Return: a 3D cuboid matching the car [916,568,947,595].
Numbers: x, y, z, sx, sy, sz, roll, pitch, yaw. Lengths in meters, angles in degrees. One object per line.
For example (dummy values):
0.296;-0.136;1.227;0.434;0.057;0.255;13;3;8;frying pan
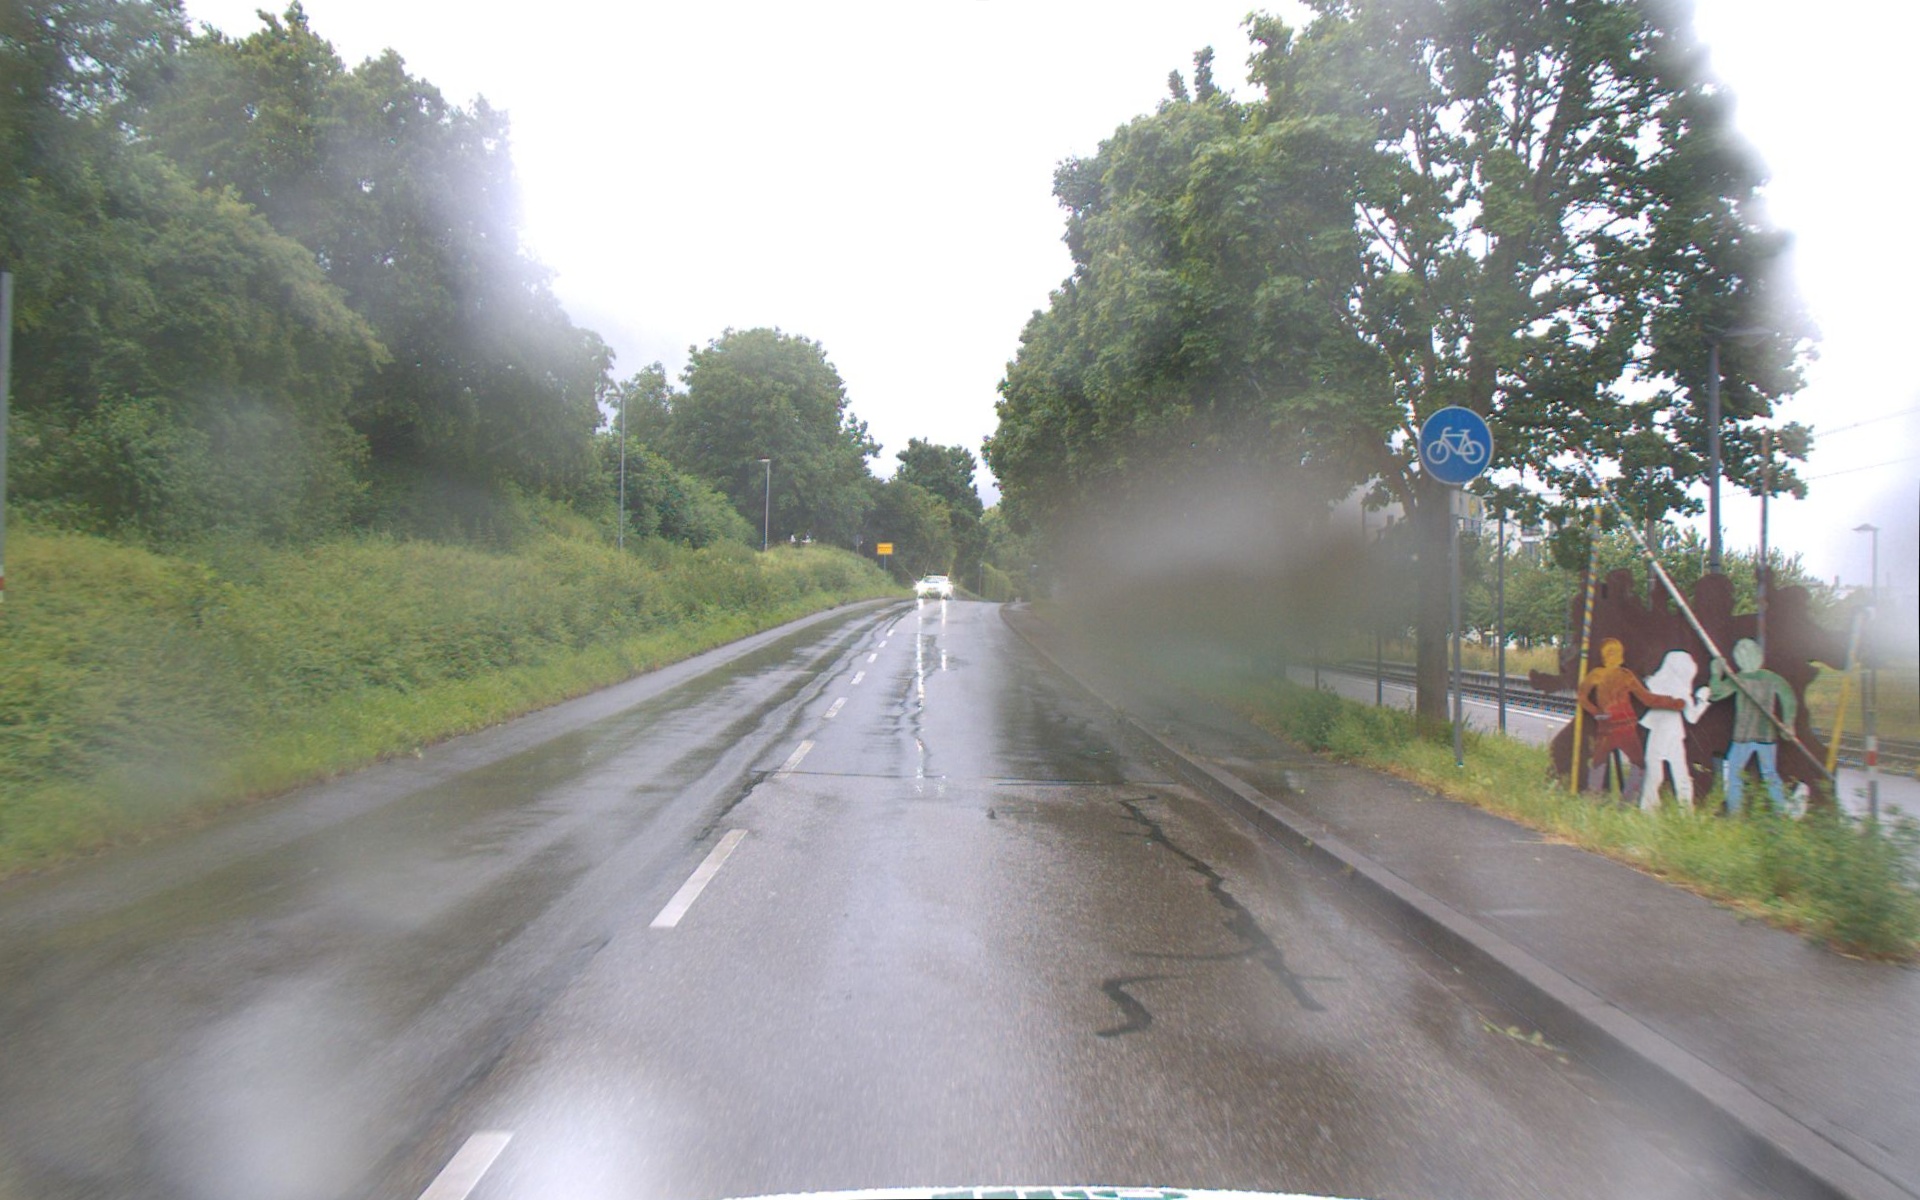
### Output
-1.697;-1.154;100.744;1.745;1.531;4.001;1;2;1;car
